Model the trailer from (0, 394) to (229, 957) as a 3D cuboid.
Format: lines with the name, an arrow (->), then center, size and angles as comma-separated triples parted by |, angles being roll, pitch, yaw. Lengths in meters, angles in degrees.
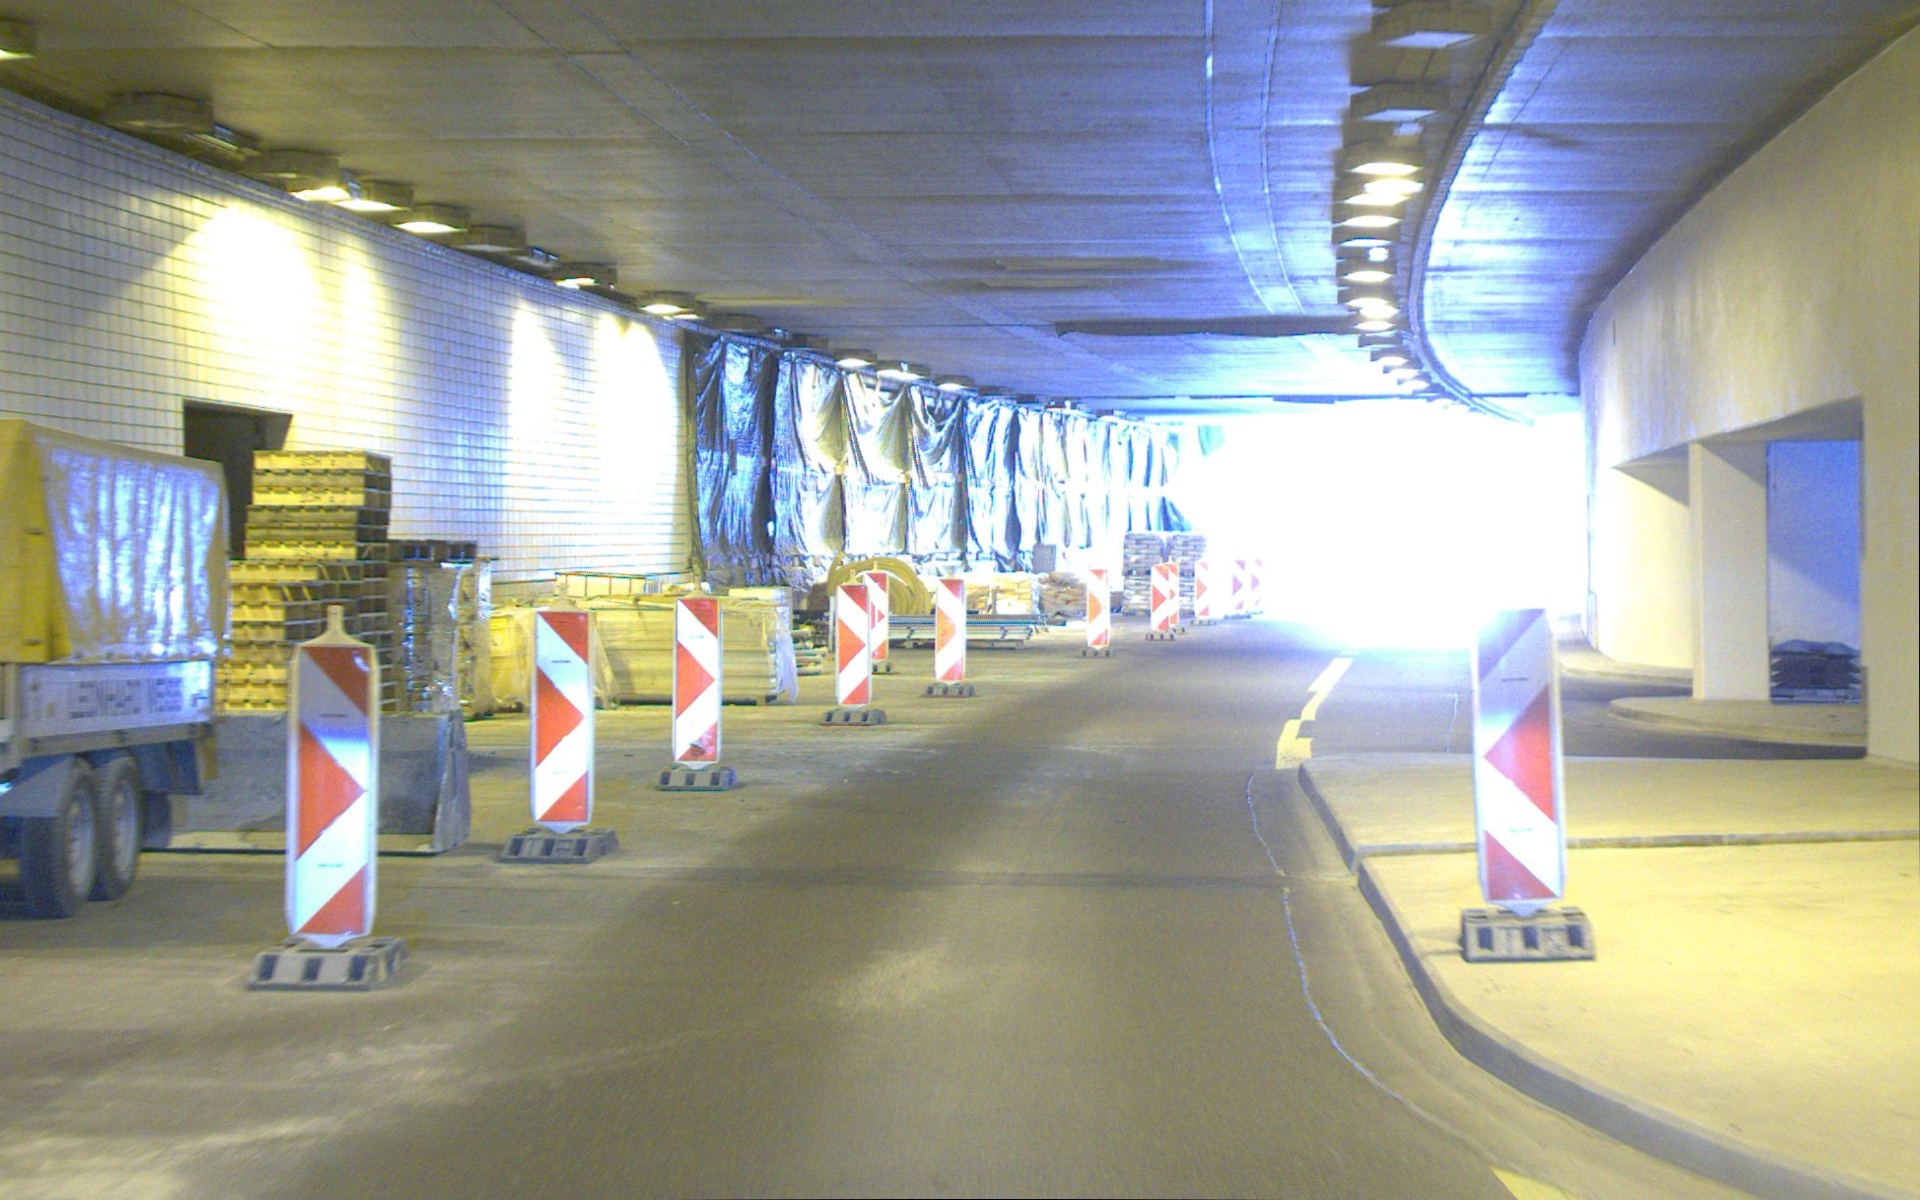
trailer -> -4.449, 0.251, 13.974 | 2.208, 2.007, 3.466 | 0, 0, 0
